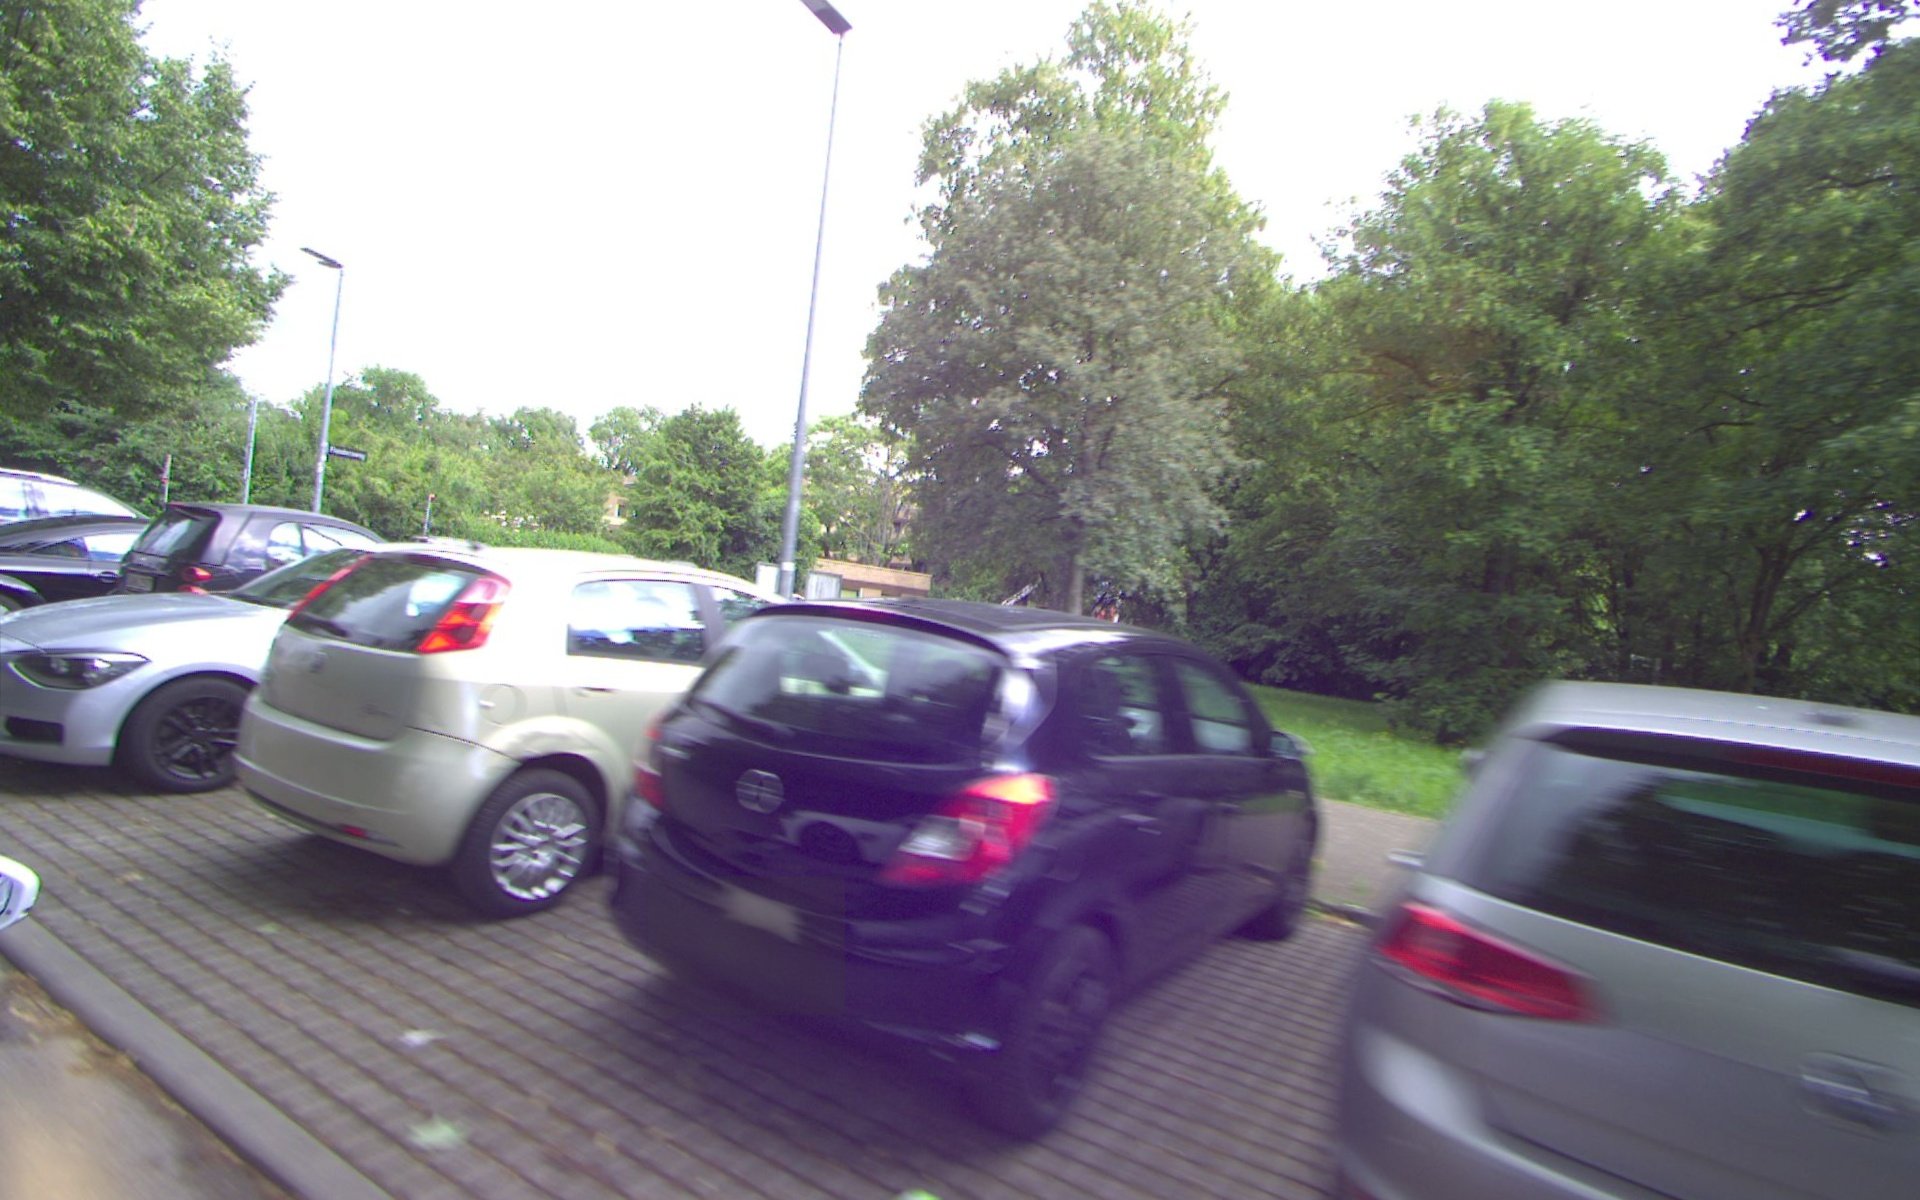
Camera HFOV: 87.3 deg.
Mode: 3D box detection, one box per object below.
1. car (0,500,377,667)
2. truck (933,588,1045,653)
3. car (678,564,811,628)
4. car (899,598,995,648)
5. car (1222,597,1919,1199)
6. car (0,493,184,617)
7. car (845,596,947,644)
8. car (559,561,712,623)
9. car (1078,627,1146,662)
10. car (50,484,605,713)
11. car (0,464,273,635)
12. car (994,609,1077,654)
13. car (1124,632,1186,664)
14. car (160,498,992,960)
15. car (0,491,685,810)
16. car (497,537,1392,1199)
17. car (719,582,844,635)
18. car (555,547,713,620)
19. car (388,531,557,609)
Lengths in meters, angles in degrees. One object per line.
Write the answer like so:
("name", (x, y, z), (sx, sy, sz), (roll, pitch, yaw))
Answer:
("car", (-8.138, -0.154, 9.765), (1.794, 1.375, 3.831), (6, 0, 36))
("truck", (1.434, 1.003, 47.056), (2.160, 2.455, 5.504), (6, -1, 38))
("car", (-9.152, -0.115, 43.113), (2.106, 2.081, 5.317), (7, -1, 38))
("car", (-0.613, 1.239, 53.678), (2.106, 2.081, 5.317), (7, -1, 38))
("car", (2.346, 0.928, 3.085), (1.764, 1.530, 3.961), (7, 1, 33))
("car", (-12.440, -0.667, 12.637), (1.822, 1.421, 3.833), (6, 0, 34))
("car", (-2.606, 0.855, 41.780), (1.678, 1.544, 4.281), (6, -1, 39))
("car", (-10.246, -0.208, 32.049), (1.678, 1.445, 4.391), (6, -1, 38))
("car", (8.511, 2.488, 55.974), (1.678, 1.544, 4.281), (6, -1, 39))
("car", (-5.480, 0.038, 9.215), (1.789, 1.578, 3.835), (6, 0, 32))
("car", (-10.394, -0.607, 11.132), (1.949, 1.670, 4.122), (6, 0, 36))
("car", (4.512, 1.875, 59.214), (2.106, 2.081, 5.317), (7, -1, 38))
("car", (11.647, 2.881, 59.906), (1.678, 1.544, 4.281), (6, -1, 39))
("car", (-1.661, 0.507, 5.629), (1.781, 1.547, 3.989), (6, 0, 33))
("car", (-4.074, 0.262, 6.767), (1.904, 1.448, 3.990), (6, 0, 32))
("car", (0.429, 0.738, 4.281), (1.735, 1.530, 3.960), (7, 2, 34))
("car", (-6.483, 0.340, 36.928), (1.678, 1.445, 4.426), (6, -1, 39))
("car", (-12.286, -0.583, 38.244), (2.106, 2.081, 5.317), (7, -1, 38))
("car", (-13.571, -0.799, 28.150), (1.742, 1.689, 3.776), (7, 0, 39))
